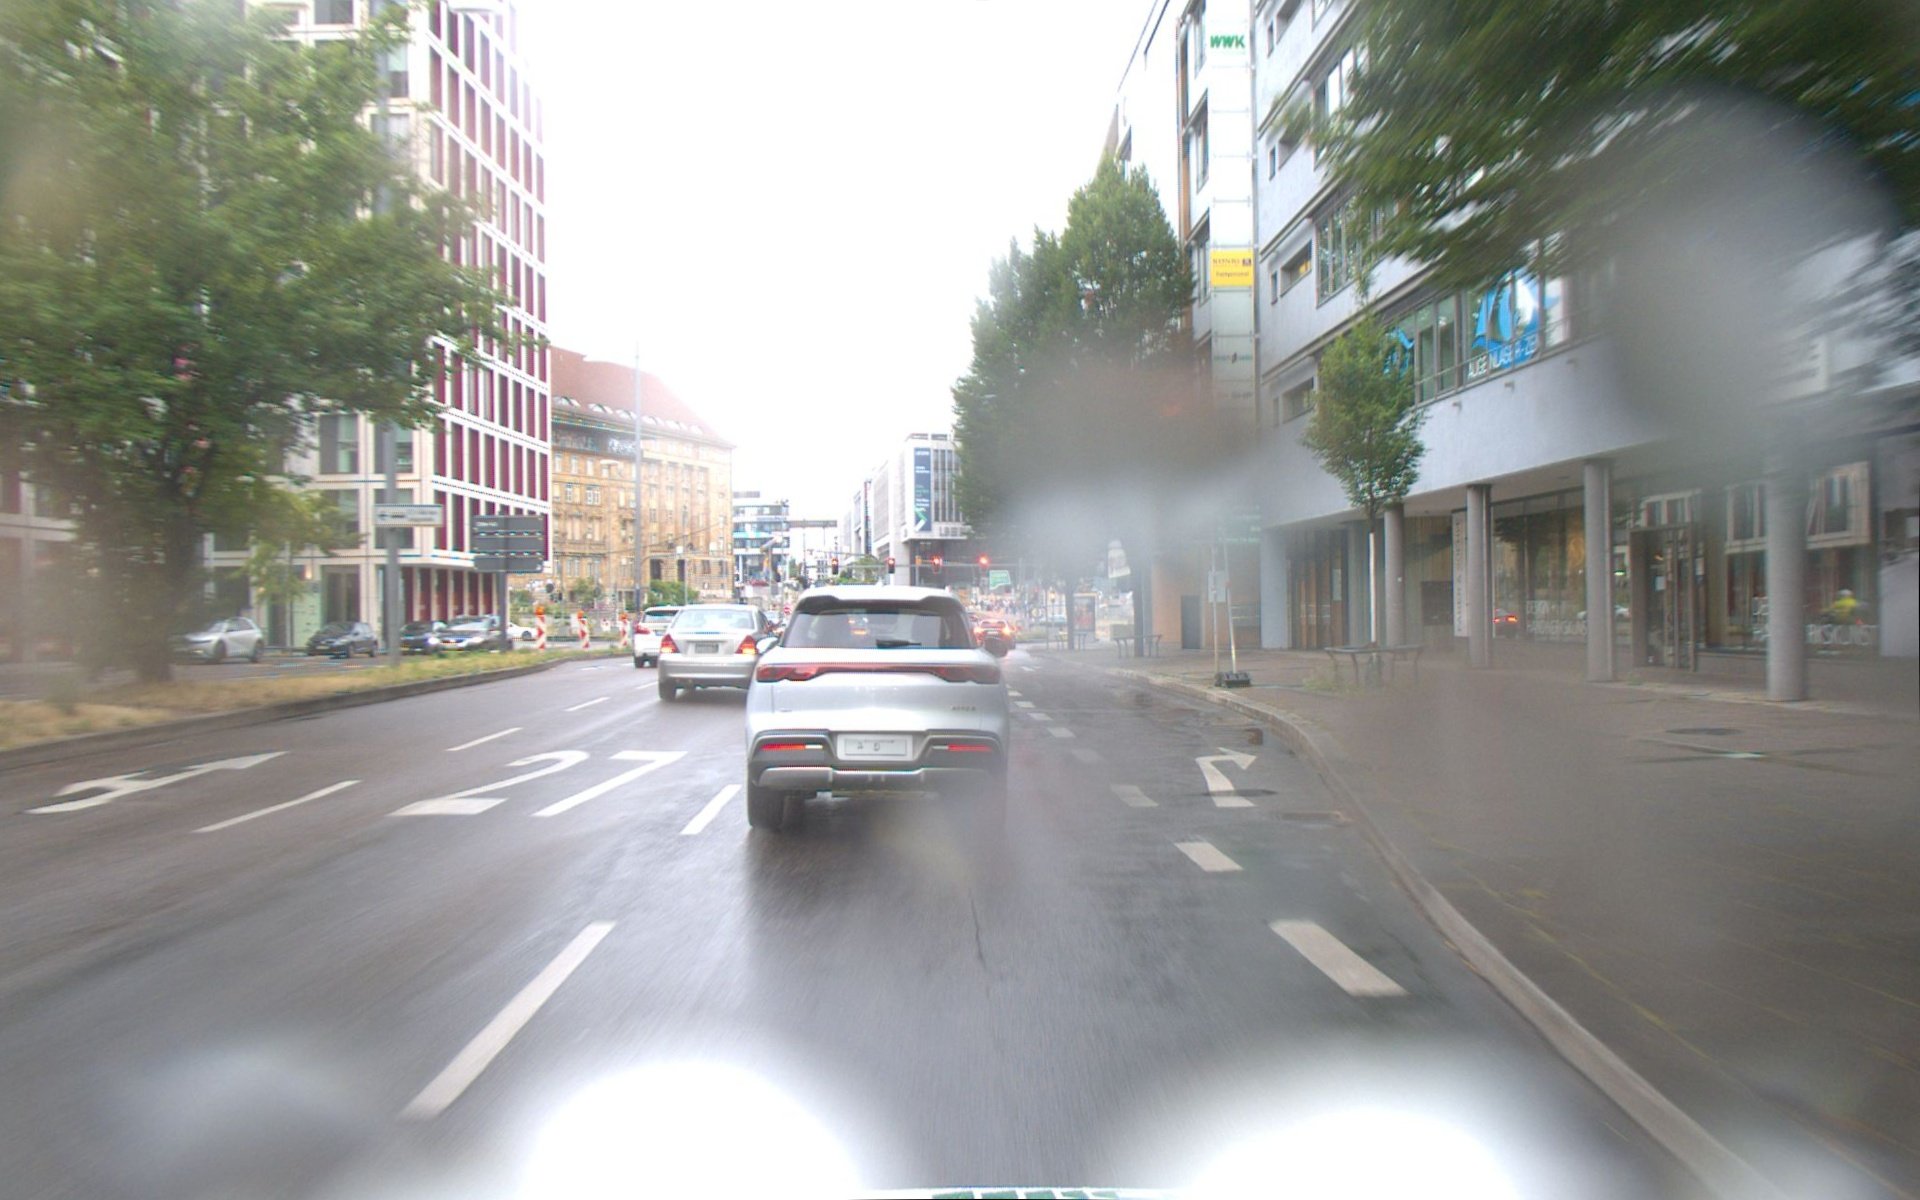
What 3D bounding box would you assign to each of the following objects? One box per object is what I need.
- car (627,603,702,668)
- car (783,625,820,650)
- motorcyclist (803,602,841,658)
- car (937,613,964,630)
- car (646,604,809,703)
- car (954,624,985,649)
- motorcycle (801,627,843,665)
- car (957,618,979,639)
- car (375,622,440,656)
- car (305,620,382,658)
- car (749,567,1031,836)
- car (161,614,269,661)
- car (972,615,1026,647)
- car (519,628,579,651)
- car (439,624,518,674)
[{"bbox_3d":[-7.829,0.951,44.039,1.699,1.644,3.994,1,-2,-7],"label":"car"},{"bbox_3d":[-9.267,2.207,97.105,1.746,1.397,3.993,0,-2,1],"label":"car"},{"bbox_3d":[-3.810,0.831,45.674,0.922,1.501,1.100,0,-2,1],"label":"motorcyclist"},{"bbox_3d":[-1.091,2.541,194.926,1.964,1.848,3.975,1,-2,-20],"label":"car"},{"bbox_3d":[-3.595,0.842,26.346,1.696,1.428,4.384,0,-2,4],"label":"car"},{"bbox_3d":[0.614,2.193,100.562,1.746,1.427,4.488,0,0,2],"label":"car"},{"bbox_3d":[-3.792,1.262,45.654,0.922,1.007,2.294,0,-1,1],"label":"motorcycle"},{"bbox_3d":[0.787,2.883,168.136,1.954,2.049,3.996,0,-2,-4],"label":"car"},{"bbox_3d":[-25.481,1.784,76.370,1.663,1.449,3.954,-2,-1,-1],"label":"car"},{"bbox_3d":[-25.038,1.574,67.271,1.663,1.449,3.954,-2,-1,-1],"label":"car"},{"bbox_3d":[-0.542,0.696,12.538,1.772,1.690,4.167,0,-2,-3],"label":"car"},{"bbox_3d":[-25.064,1.252,55.803,1.663,1.449,4.373,-2,-1,-1],"label":"car"},{"bbox_3d":[1.991,1.574,82.637,1.851,1.571,3.996,0,-2,14],"label":"car"},{"bbox_3d":[-31.397,3.016,126.278,4.311,1.691,1.990,1,-2,-17],"label":"car"},{"bbox_3d":[-16.725,1.695,57.663,1.790,1.661,4.868,1,-2,-6],"label":"car"}]
